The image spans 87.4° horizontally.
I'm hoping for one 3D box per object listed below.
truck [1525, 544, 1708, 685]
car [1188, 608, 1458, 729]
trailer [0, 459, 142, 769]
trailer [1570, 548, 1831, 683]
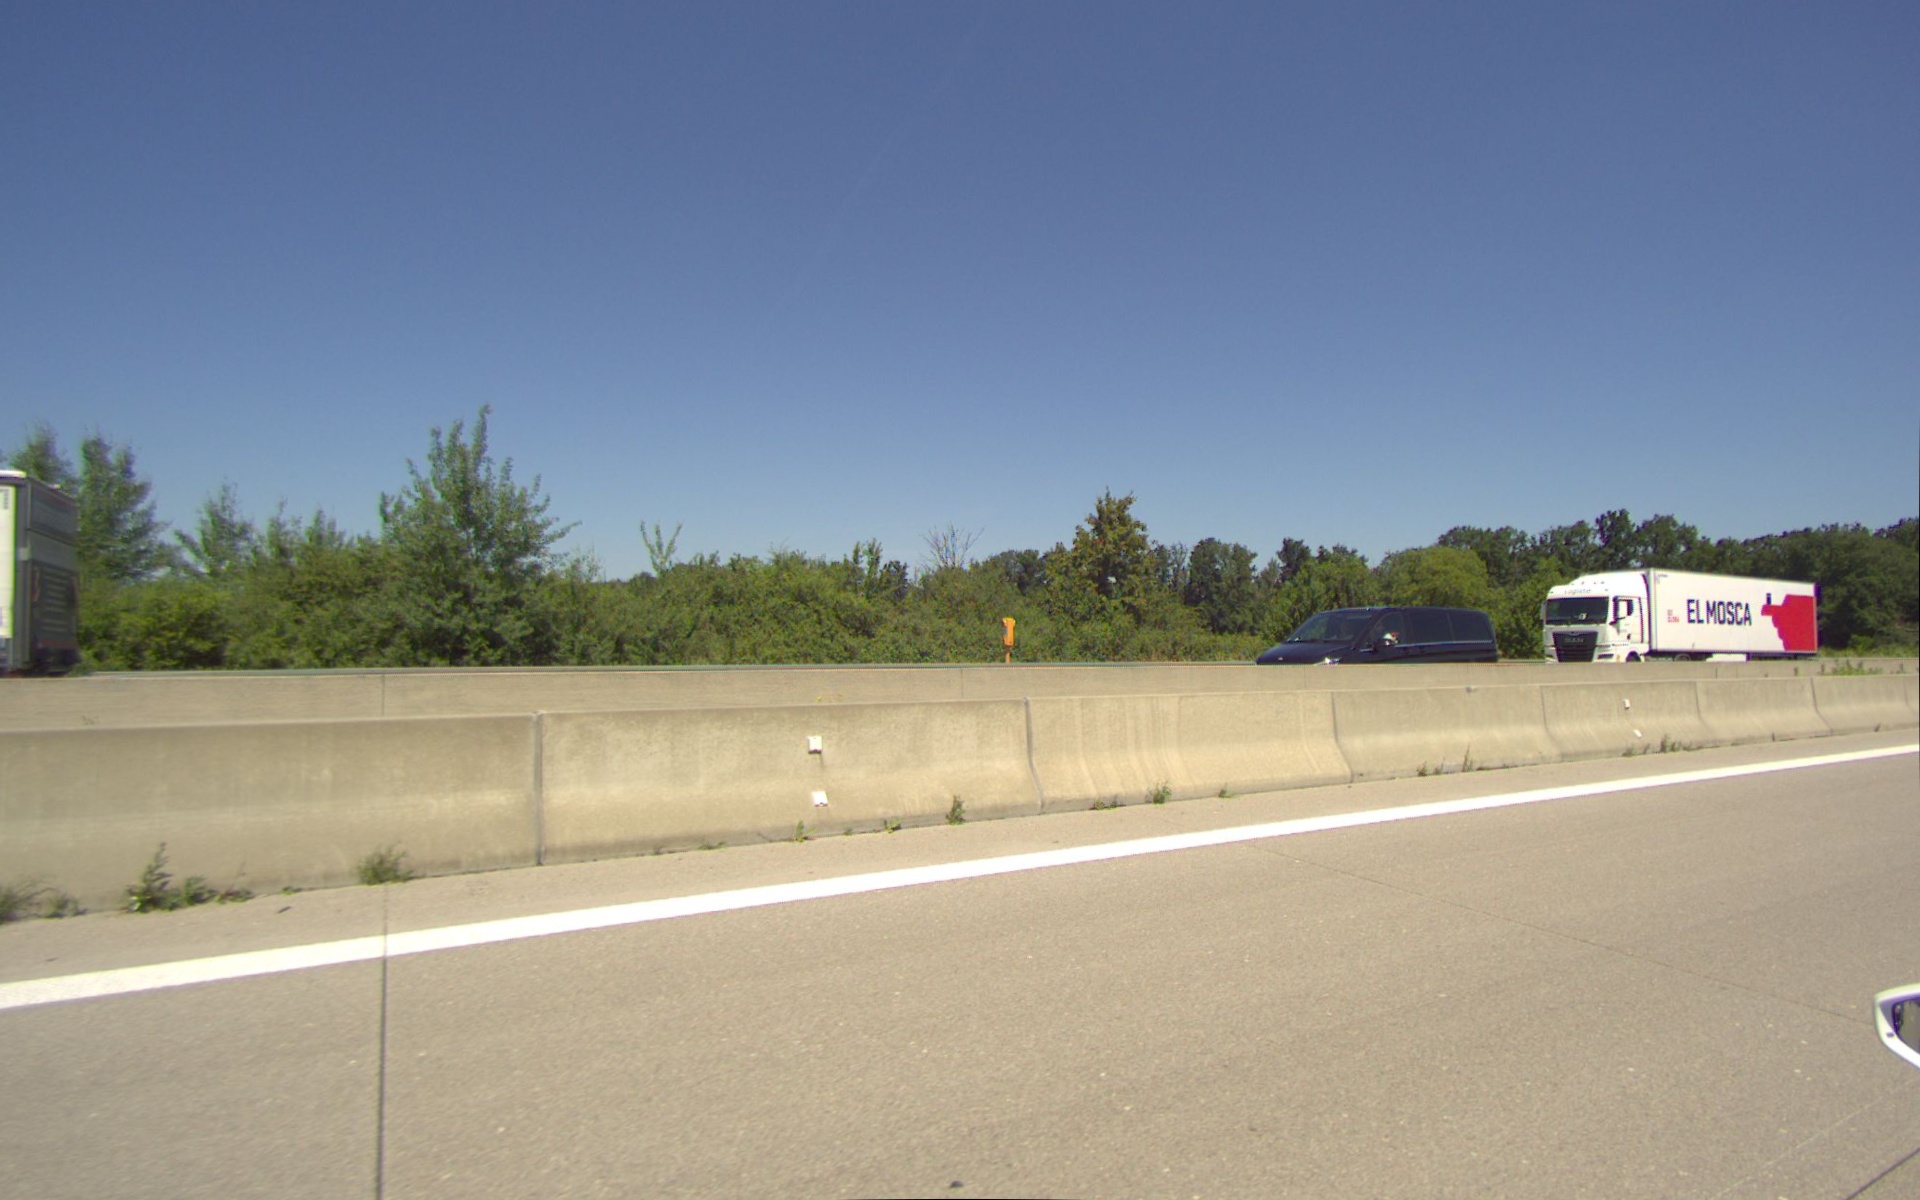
[{"bbox_3d":[24.336,0.538,37.190,6.421,4.825,3.068,1,0,-30],"label":"truck"},{"bbox_3d":[6.269,1.097,17.280,4.413,1.819,1.984,1,0,-30],"label":"car"},{"bbox_3d":[-16.380,0.113,13.107,8.383,4.160,2.939,1,0,-30],"label":"trailer"},{"bbox_3d":[30.293,0.673,40.687,14.203,4.825,3.067,1,0,-30],"label":"trailer"}]
